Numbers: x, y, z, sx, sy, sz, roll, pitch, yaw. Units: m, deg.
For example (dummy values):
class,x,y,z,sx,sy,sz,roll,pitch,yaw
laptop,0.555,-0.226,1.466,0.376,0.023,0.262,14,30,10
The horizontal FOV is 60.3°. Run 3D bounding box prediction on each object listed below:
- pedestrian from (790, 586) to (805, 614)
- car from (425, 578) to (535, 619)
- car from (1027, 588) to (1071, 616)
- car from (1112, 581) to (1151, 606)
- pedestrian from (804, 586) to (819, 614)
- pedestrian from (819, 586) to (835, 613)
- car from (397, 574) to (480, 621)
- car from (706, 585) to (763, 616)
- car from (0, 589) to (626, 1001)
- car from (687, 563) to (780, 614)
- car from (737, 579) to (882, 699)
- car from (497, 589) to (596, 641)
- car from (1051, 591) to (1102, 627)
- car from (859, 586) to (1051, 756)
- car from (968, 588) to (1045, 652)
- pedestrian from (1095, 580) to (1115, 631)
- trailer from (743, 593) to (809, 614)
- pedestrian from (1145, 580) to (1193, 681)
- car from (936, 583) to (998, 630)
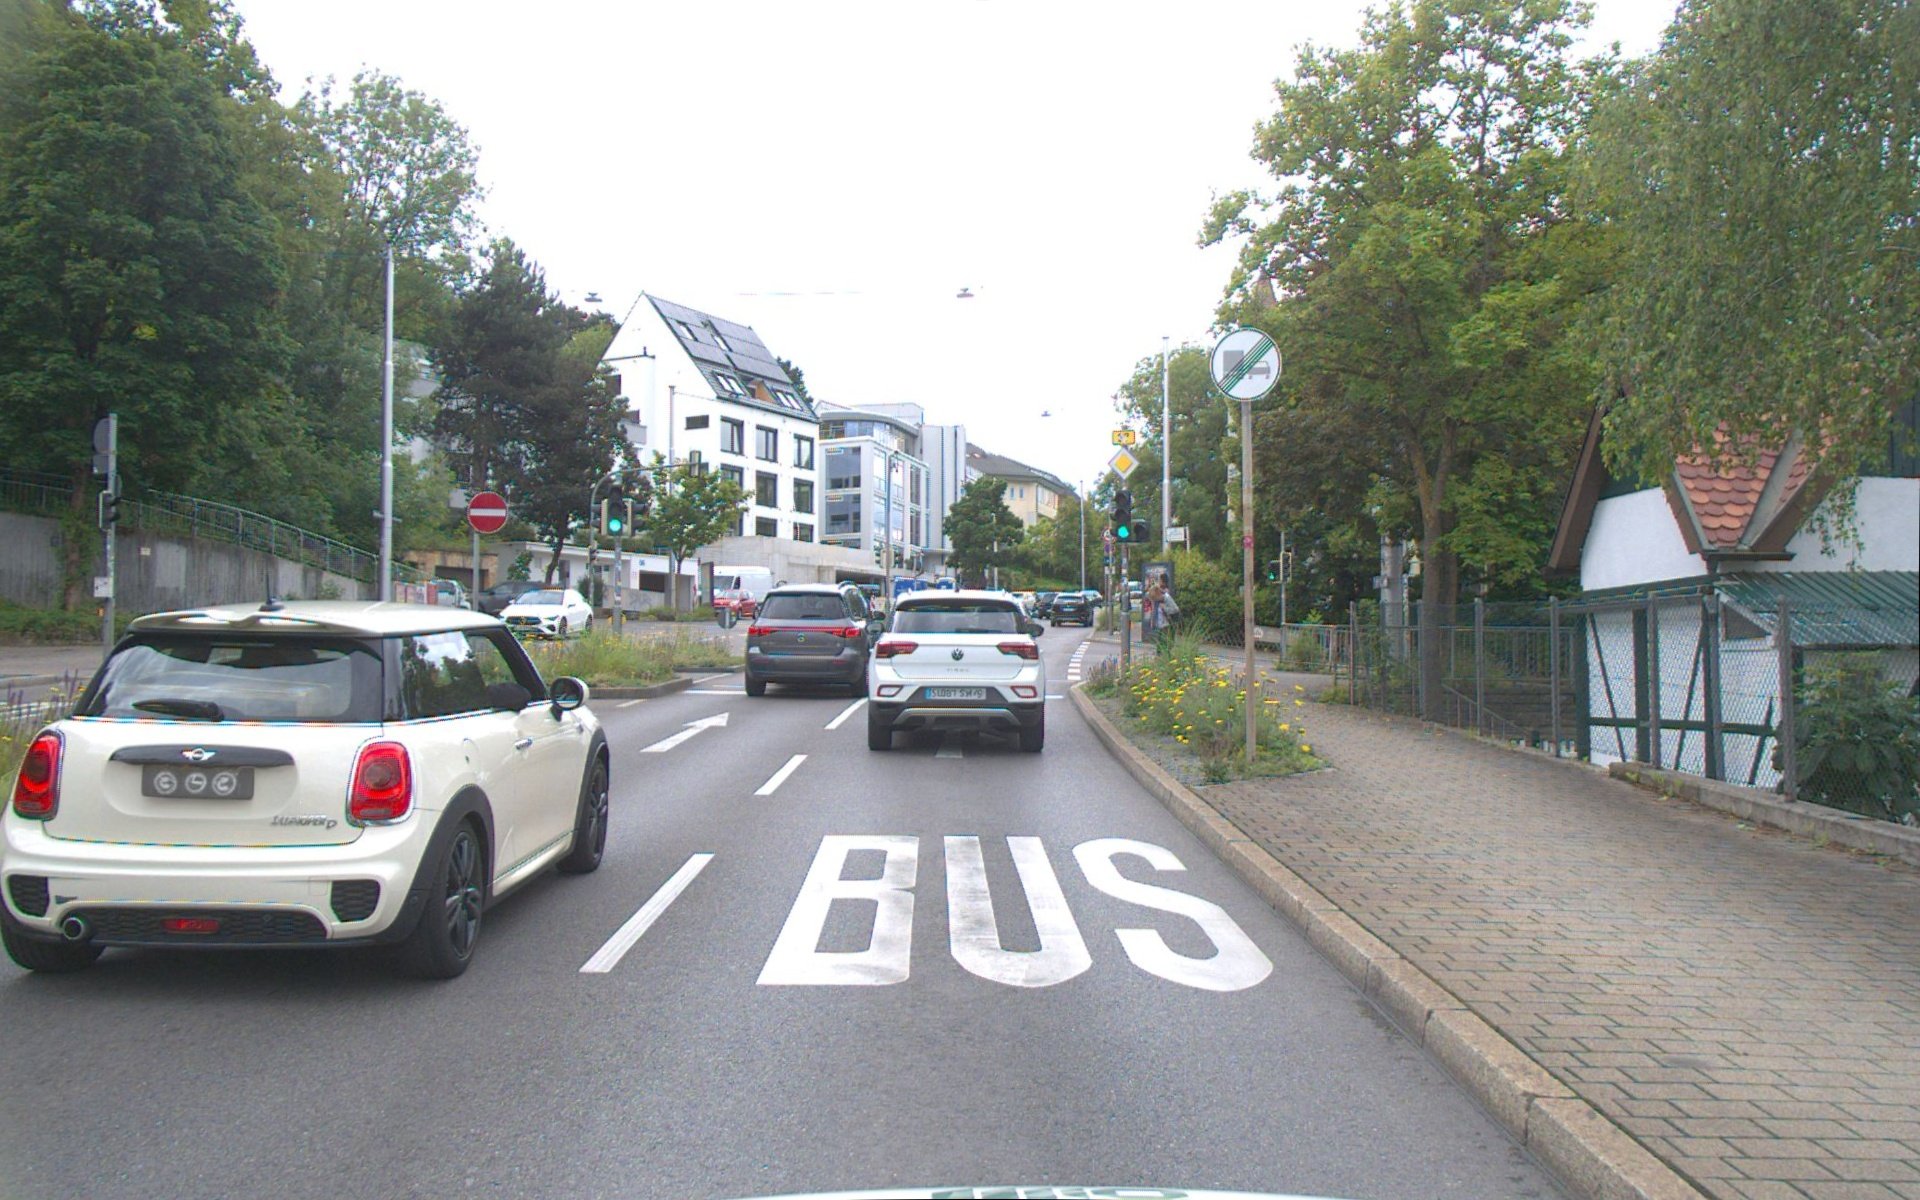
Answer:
class,x,y,z,sx,sy,sz,roll,pitch,yaw
pedestrian,-9.759,-0.008,99.560,0.613,1.669,0.672,2,0,21
car,-18.834,-0.054,65.043,4.048,1.567,1.593,0,0,-13
car,4.982,0.115,92.166,1.818,1.526,4.059,0,0,11
car,10.556,-0.416,101.419,1.818,1.526,4.059,0,0,14
pedestrian,-8.954,-0.011,99.719,0.667,1.669,0.664,2,0,-33
pedestrian,-8.211,-0.023,102.070,0.667,1.669,0.664,2,0,-33
car,-19.089,-0.074,60.516,2.667,1.547,1.552,3,-1,-24
car,-10.964,0.016,80.676,1.587,1.491,3.930,0,0,11
car,-2.671,0.668,7.541,1.595,1.417,3.565,0,0,-1
car,-11.908,-0.613,87.640,2.184,2.613,7.427,0,0,15
car,-2.244,0.538,25.748,1.775,1.681,4.636,0,0,1
car,-11.870,0.385,47.739,1.682,1.417,4.609,0,0,0
car,5.445,0.426,76.951,1.833,1.527,4.559,3,0,10
car,-0.117,0.651,17.264,1.775,1.566,3.688,0,0,-2
car,1.307,0.508,44.681,1.834,1.527,4.557,3,0,3
pedestrian,5.308,0.204,60.565,0.678,1.866,0.620,2,0,7
trailer,-10.371,0.175,93.462,2.198,1.131,4.626,0,0,15
pedestrian,3.601,0.524,28.488,0.679,1.718,0.620,-1,-1,21
car,0.298,0.212,61.802,1.818,1.681,4.639,0,0,6
